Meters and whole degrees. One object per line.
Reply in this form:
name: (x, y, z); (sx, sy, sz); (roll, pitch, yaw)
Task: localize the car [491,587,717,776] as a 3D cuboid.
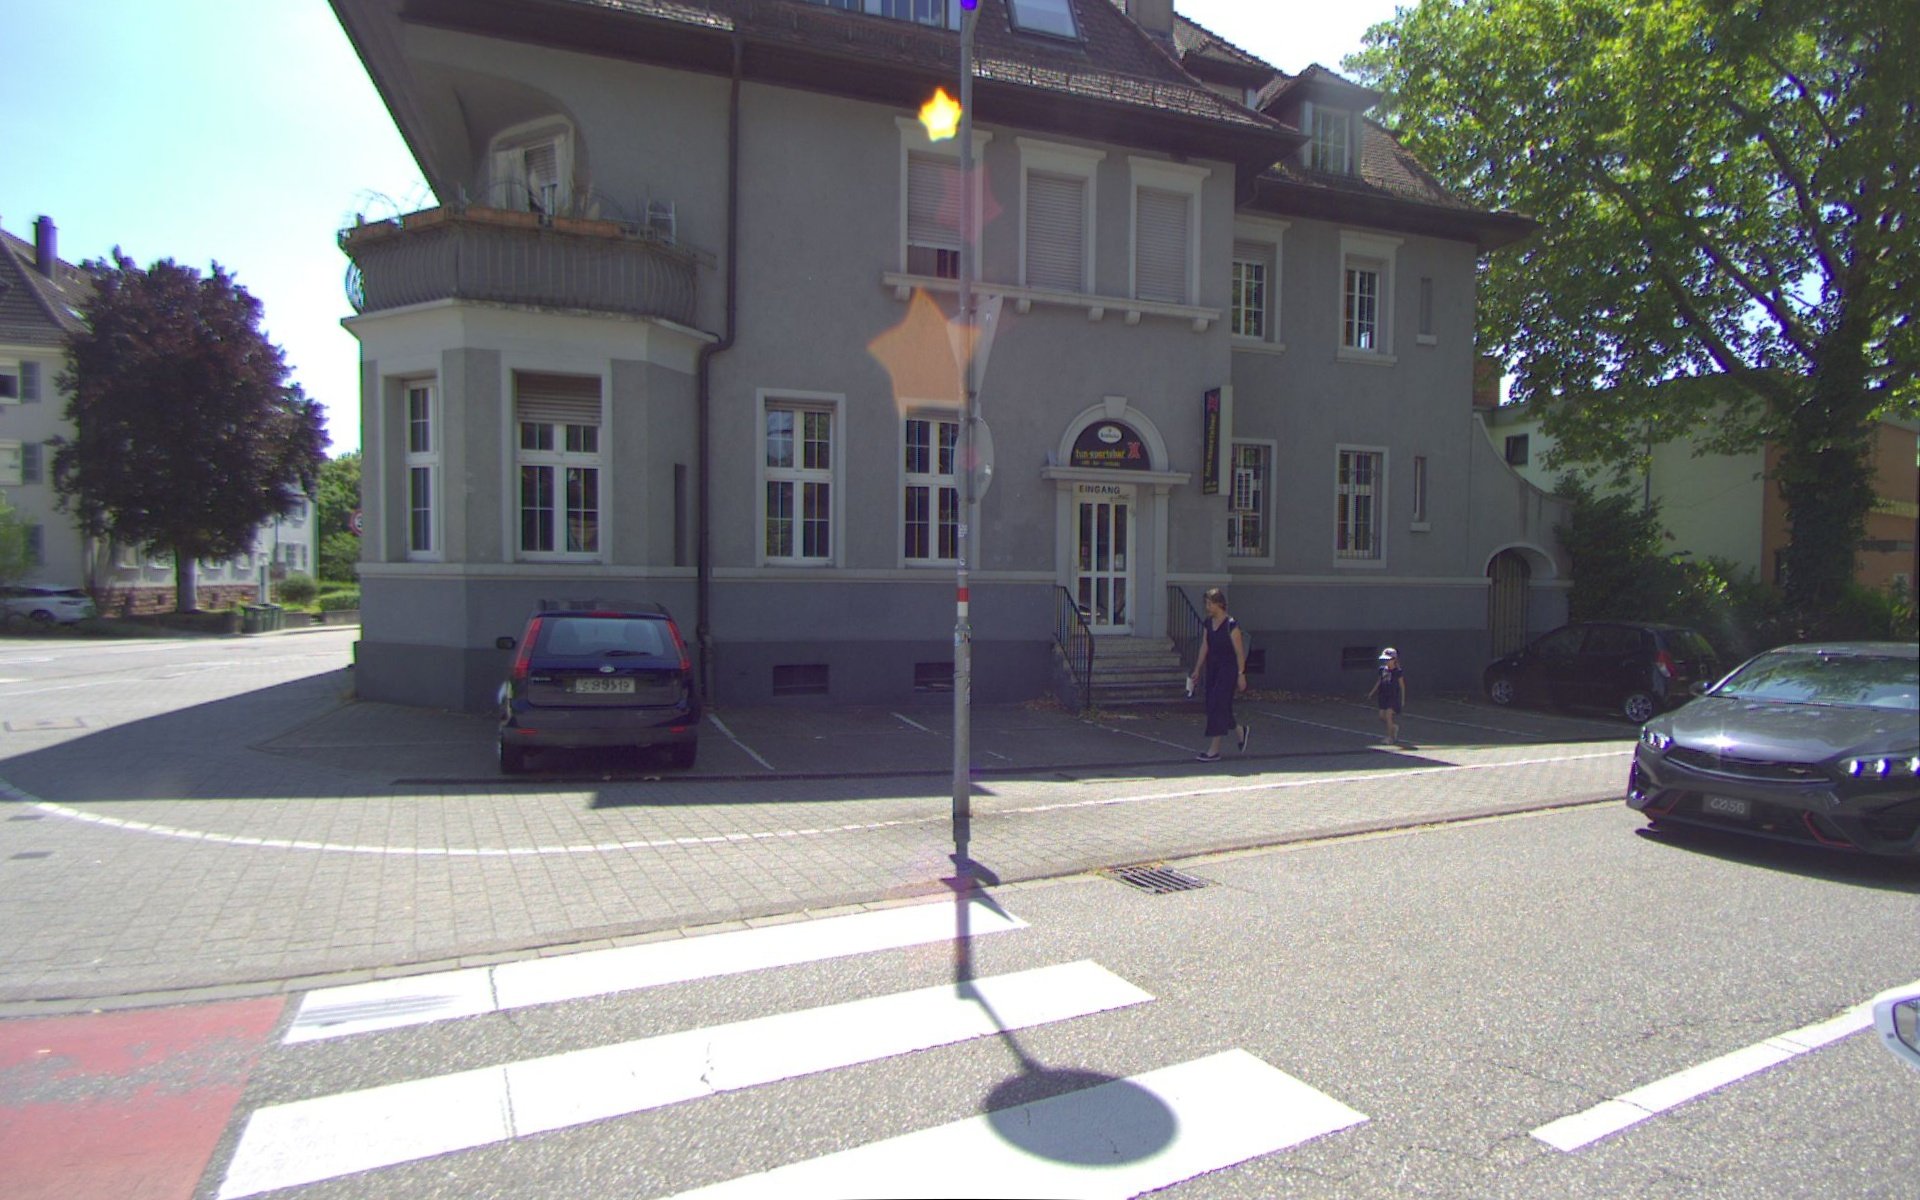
car: (-3.587, 0.649, 9.920); (1.700, 1.479, 3.772); (2, 0, -23)

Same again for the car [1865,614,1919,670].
car: (33.407, 1.511, 33.856); (1.850, 1.817, 3.959); (2, 2, -36)

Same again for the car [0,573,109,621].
car: (-32.017, -0.121, 34.110); (4.360, 1.529, 1.987); (2, 0, -26)

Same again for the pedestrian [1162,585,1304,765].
pedestrian: (2.832, 0.745, 10.449); (1.098, 1.765, 0.868); (2, 0, -27)

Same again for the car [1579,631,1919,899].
car: (6.734, 1.016, 7.537); (4.342, 1.445, 1.760); (2, 0, -31)

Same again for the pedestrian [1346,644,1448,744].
pedestrian: (5.380, 1.137, 12.377); (0.886, 1.137, 0.751); (2, 0, -27)

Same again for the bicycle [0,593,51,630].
bicycle: (-30.593, 0.350, 31.965); (2.354, 1.154, 0.665); (2, 0, -23)

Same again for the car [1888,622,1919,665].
car: (36.858, 1.713, 36.740); (1.850, 1.535, 3.959); (2, 2, -36)

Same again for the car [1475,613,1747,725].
car: (10.537, 1.045, 16.507); (1.700, 1.567, 3.373); (2, 0, -23)

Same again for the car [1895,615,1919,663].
car: (38.905, 1.632, 38.336); (1.885, 1.828, 4.392); (2, 2, -36)
